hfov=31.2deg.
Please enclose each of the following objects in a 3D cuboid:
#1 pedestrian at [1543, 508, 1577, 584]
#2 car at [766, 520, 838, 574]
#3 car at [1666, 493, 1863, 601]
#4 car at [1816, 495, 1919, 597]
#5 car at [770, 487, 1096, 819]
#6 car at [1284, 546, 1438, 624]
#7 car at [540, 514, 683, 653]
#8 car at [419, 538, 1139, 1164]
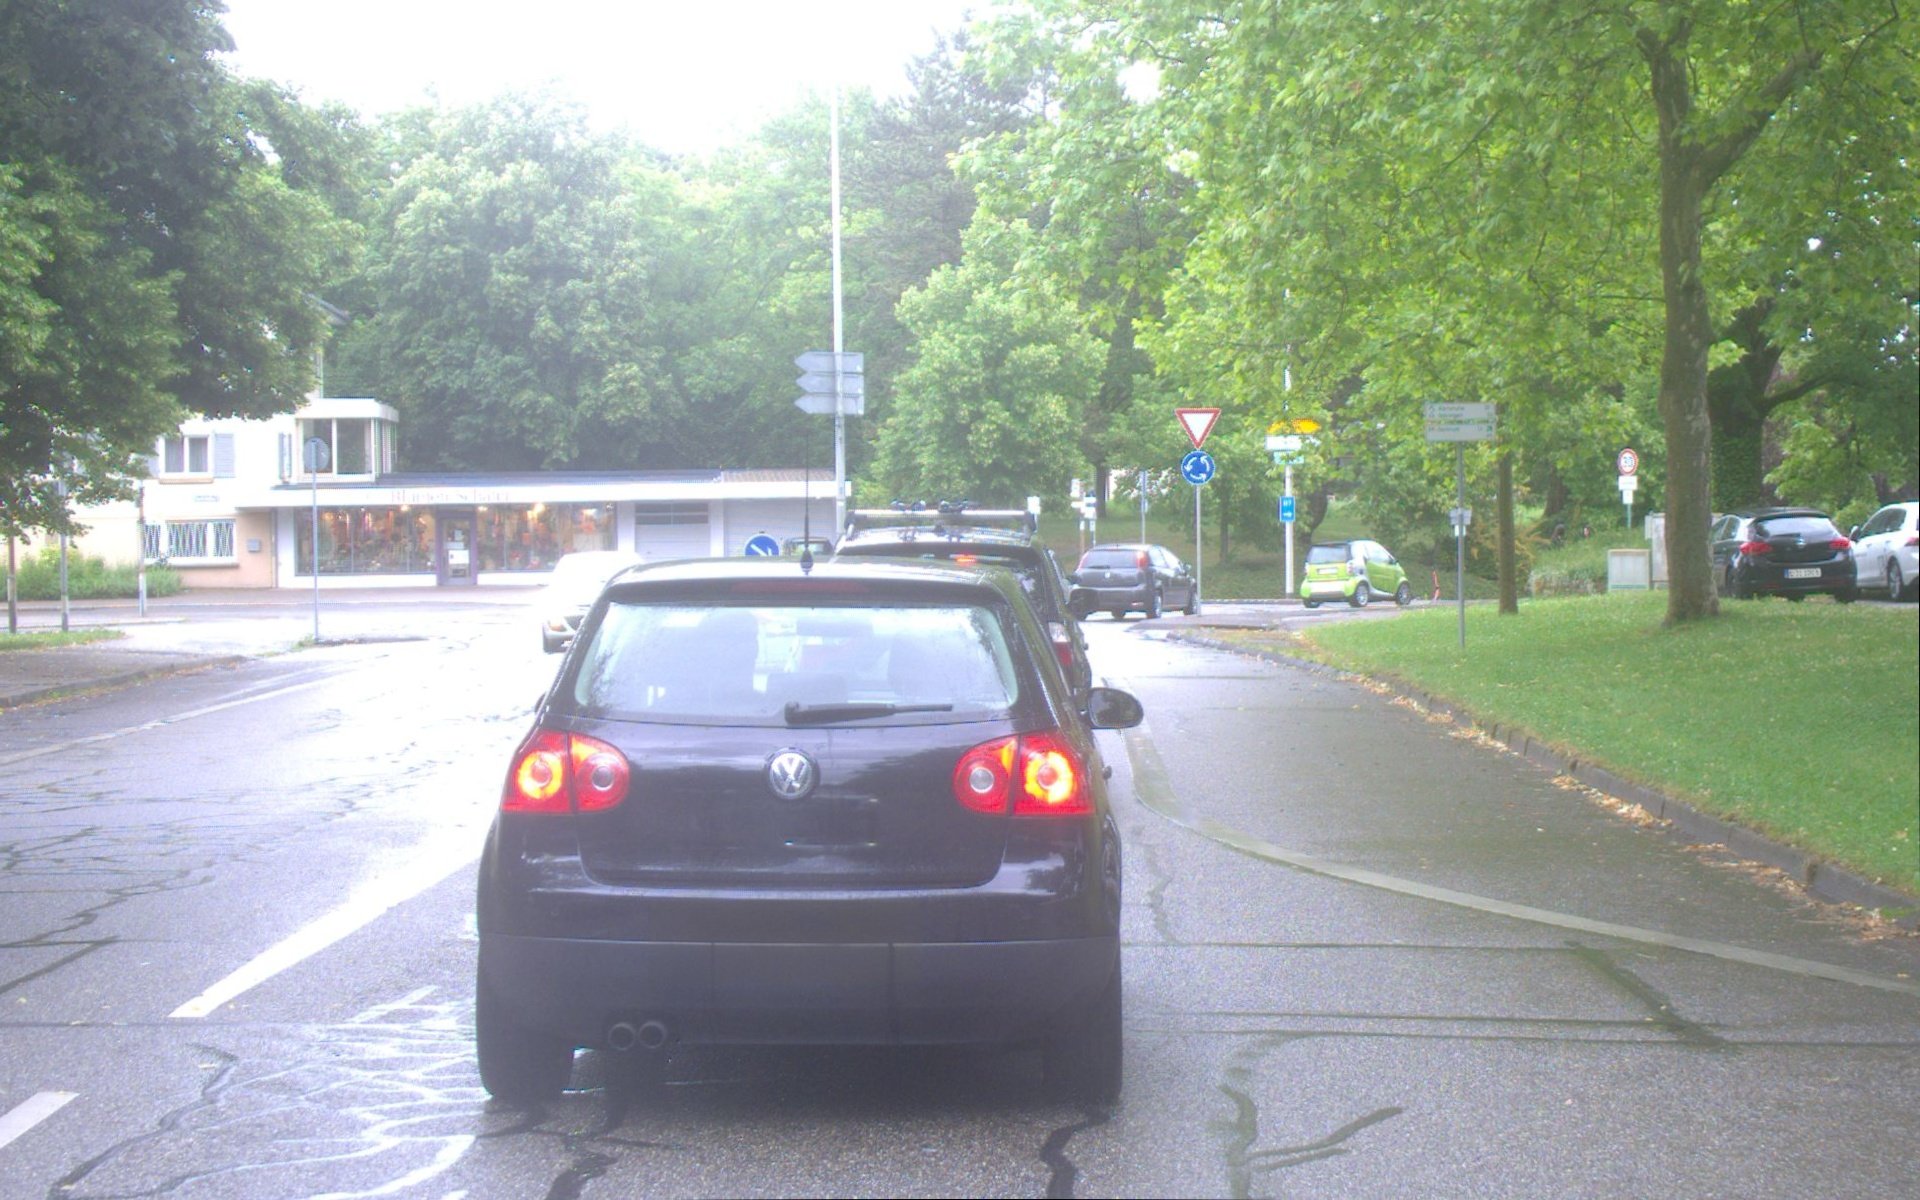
[{"bbox_3d":[13.511,-1.214,77.456,0.528,1.707,0.636,1,0,-14],"label":"pedestrian"},{"bbox_3d":[-4.615,-1.553,100.217,1.812,1.481,3.832,-2,1,-6],"label":"car"},{"bbox_3d":[12.003,-0.779,51.595,1.764,1.466,4.598,-3,1,-1],"label":"car"},{"bbox_3d":[14.461,-0.827,51.836,1.845,1.466,4.426,-2,1,-2],"label":"car"},{"bbox_3d":[-0.173,0.274,21.246,1.764,1.795,4.246,-2,1,-1],"label":"car"},{"bbox_3d":[9.258,-0.341,79.173,1.818,1.744,3.992,1,1,35],"label":"car"},{"bbox_3d":[-5.380,-0.269,52.624,1.993,2.007,4.575,1,1,-8],"label":"car"},{"bbox_3d":[-0.471,0.605,10.530,1.764,1.533,4.000,1,1,-1],"label":"car"}]
